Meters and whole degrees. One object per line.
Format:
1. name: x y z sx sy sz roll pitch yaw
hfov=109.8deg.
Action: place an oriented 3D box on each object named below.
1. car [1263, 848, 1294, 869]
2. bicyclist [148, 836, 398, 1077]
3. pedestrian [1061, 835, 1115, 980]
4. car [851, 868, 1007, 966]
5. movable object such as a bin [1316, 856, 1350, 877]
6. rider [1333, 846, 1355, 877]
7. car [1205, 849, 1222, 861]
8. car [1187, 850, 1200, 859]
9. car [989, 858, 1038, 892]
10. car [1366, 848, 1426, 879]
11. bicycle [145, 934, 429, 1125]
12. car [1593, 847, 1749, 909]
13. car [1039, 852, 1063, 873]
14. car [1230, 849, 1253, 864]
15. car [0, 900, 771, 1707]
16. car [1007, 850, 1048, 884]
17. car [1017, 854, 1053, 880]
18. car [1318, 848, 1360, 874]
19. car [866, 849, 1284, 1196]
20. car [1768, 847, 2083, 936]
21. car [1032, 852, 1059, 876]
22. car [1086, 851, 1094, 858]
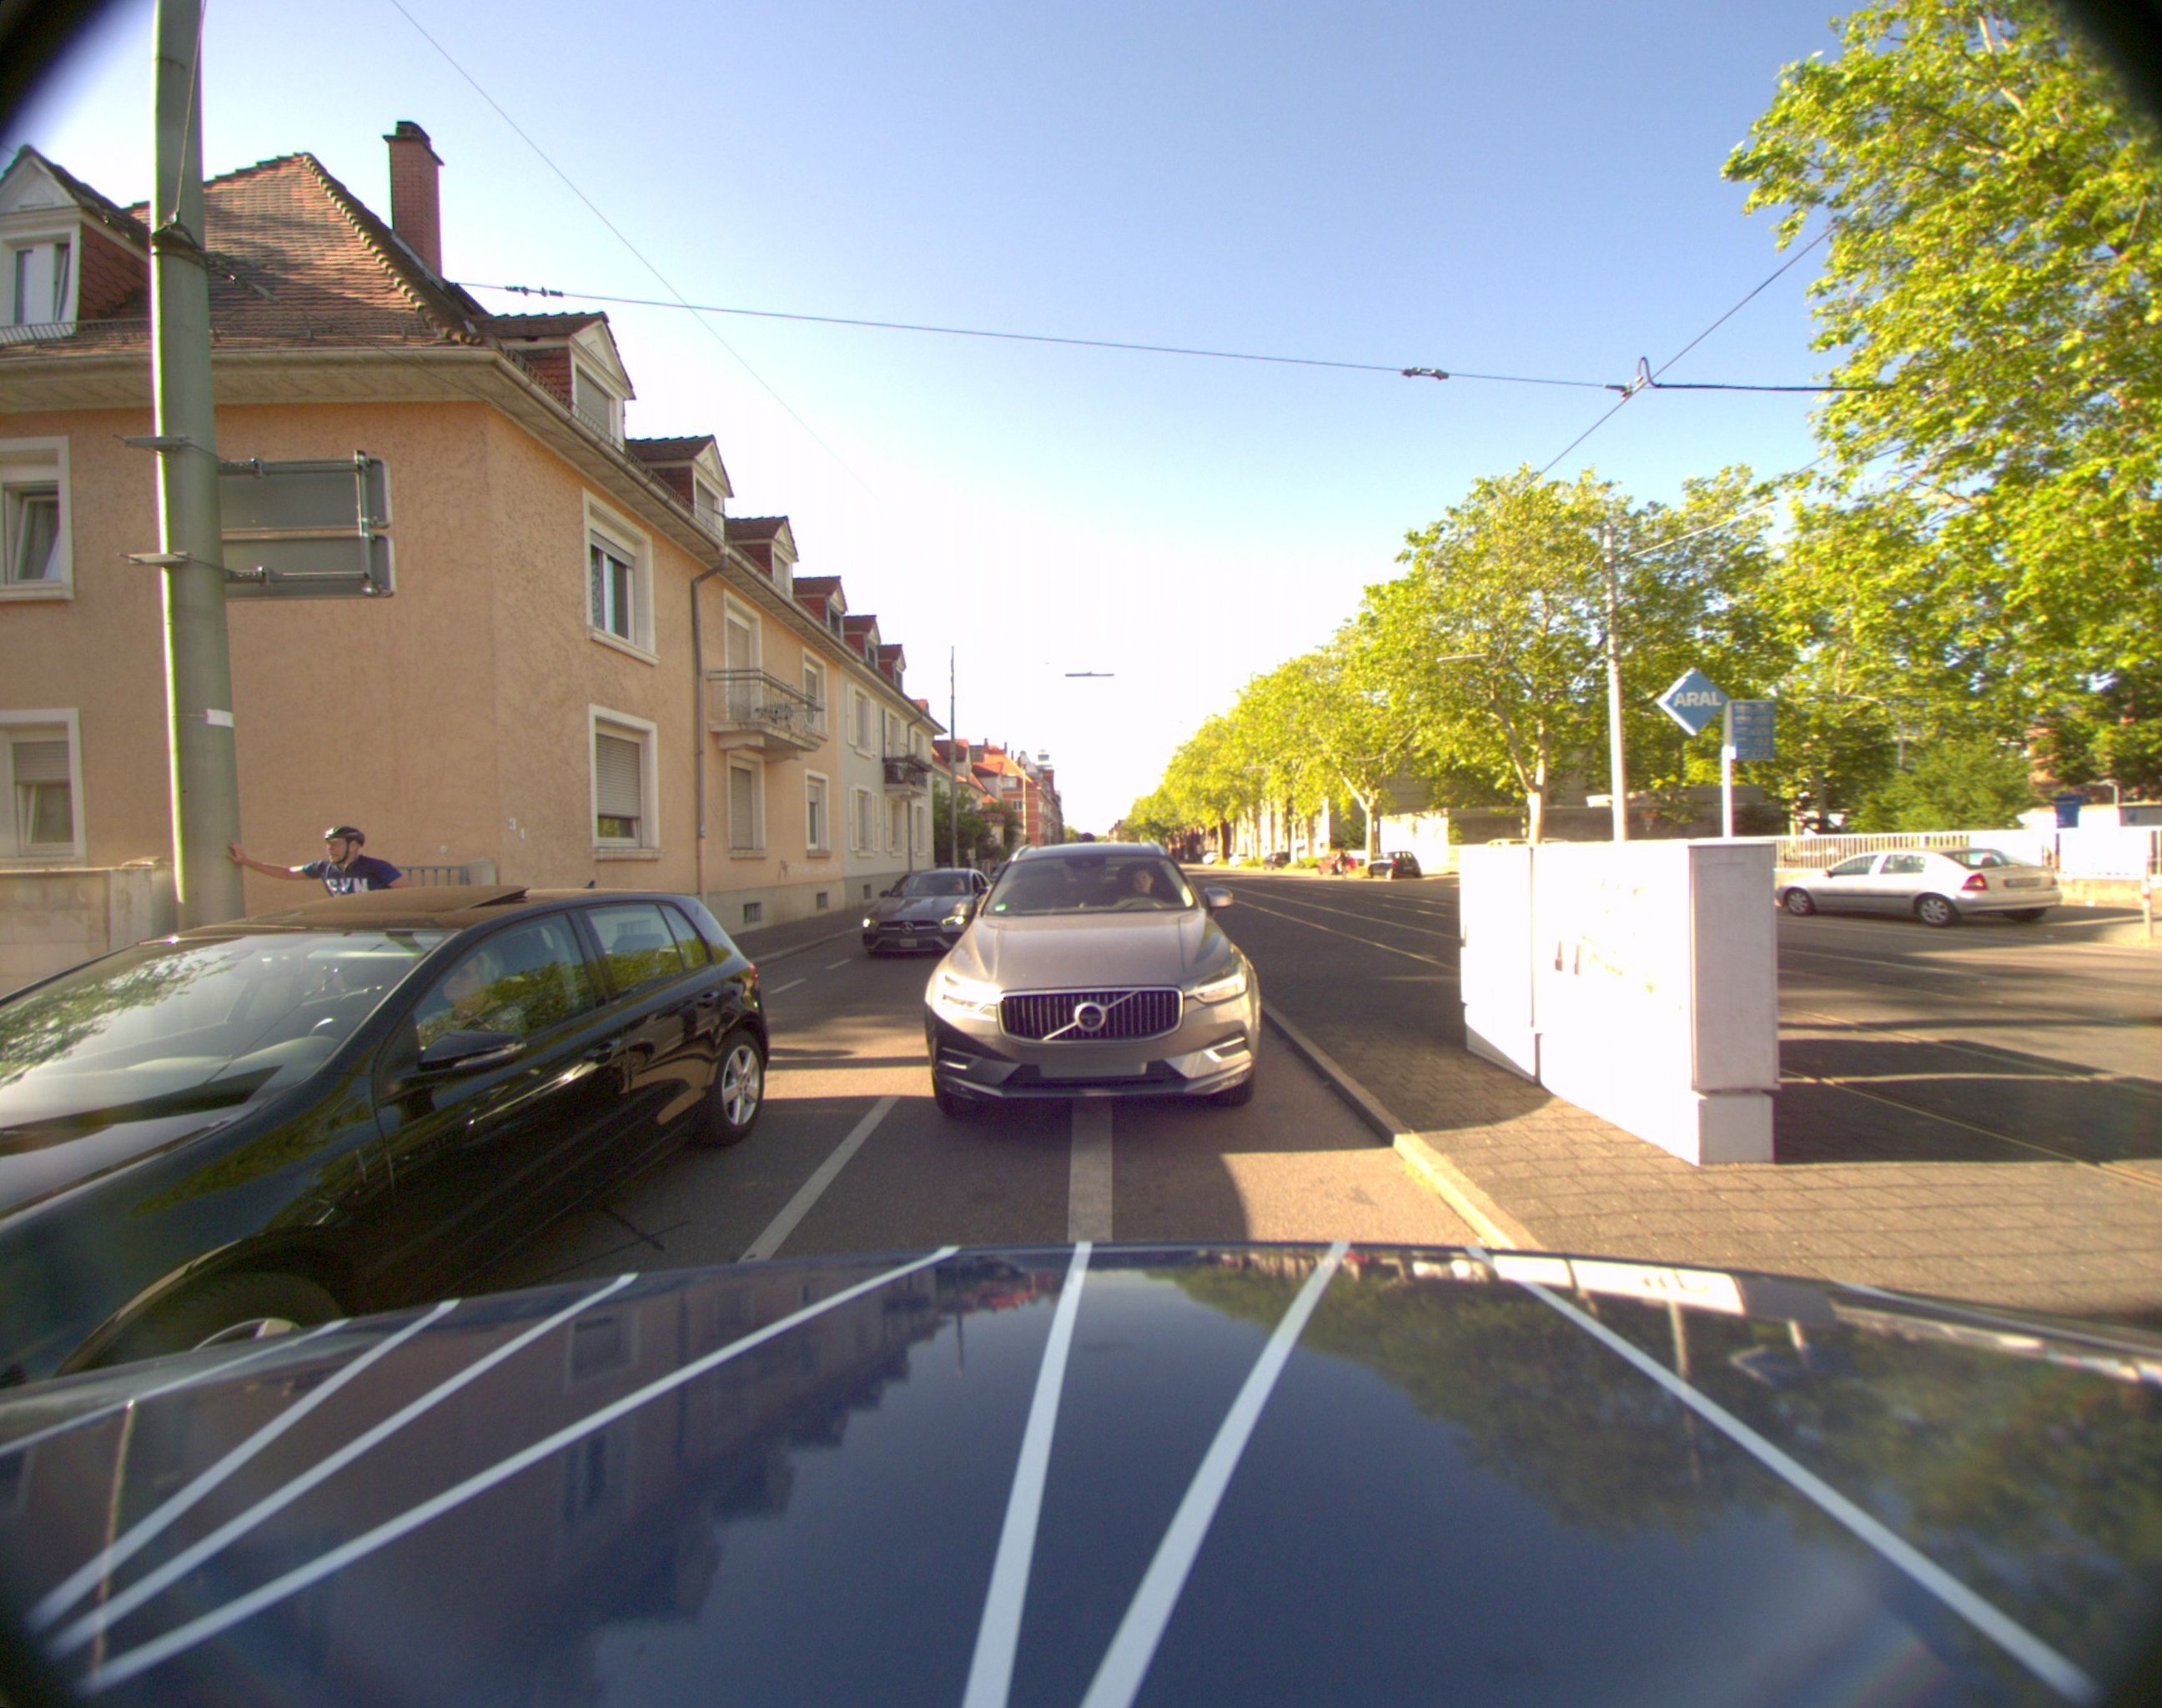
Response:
1. car: 17.110 0.340 65.956 1.754 1.582 3.878 -5 1 3
2. bicyclist: -6.030 0.735 5.736 1.021 1.684 0.729 2 0 -7
3. pedestrian: 0.095 0.680 9.968 0.609 1.832 0.599 -2 1 1
4. car: -2.583 1.020 14.035 1.825 1.422 4.491 -2 -1 1
5. movable object such as a bin: 14.308 0.680 43.208 1.178 1.097 1.834 -2 1 -4
6. rider: 14.517 0.406 41.884 0.725 1.639 1.106 -2 1 -4
7. car: 17.564 0.115 100.670 1.661 1.452 3.730 -5 1 3
8. car: 18.541 0.074 125.546 1.661 1.452 3.730 -5 1 3
9. car: -3.234 0.973 37.126 1.825 1.422 4.334 -2 1 1
10. car: 16.832 0.455 40.800 1.723 1.436 3.769 -5 1 3
11. bicycle: -5.868 1.236 5.766 0.556 1.069 1.624 2 0 -7
12. car: 16.406 0.603 21.375 1.619 1.436 3.606 -5 1 3
13. car: -2.601 0.708 67.266 1.825 1.701 4.334 -2 1 1
14. car: 17.611 0.257 83.455 1.754 1.532 3.878 -5 1 3
15. car: -2.800 1.051 2.629 1.717 1.430 3.990 -2 1 1
16. car: -2.911 0.699 42.381 1.825 1.701 4.334 -2 1 1
17. car: -2.802 0.773 47.131 1.825 1.424 4.334 -2 1 1
18. car: 16.921 0.433 49.981 1.661 1.486 3.377 -5 1 2
19. car: 0.123 0.805 5.787 1.924 1.579 4.387 -2 1 4
20. car: 16.198 0.635 14.941 1.687 1.358 3.989 -6 0 1
21. car: -2.788 0.785 60.900 1.825 1.701 4.334 -2 1 1
22. car: 2.359 0.186 196.250 1.851 1.640 3.999 -2 1 1
